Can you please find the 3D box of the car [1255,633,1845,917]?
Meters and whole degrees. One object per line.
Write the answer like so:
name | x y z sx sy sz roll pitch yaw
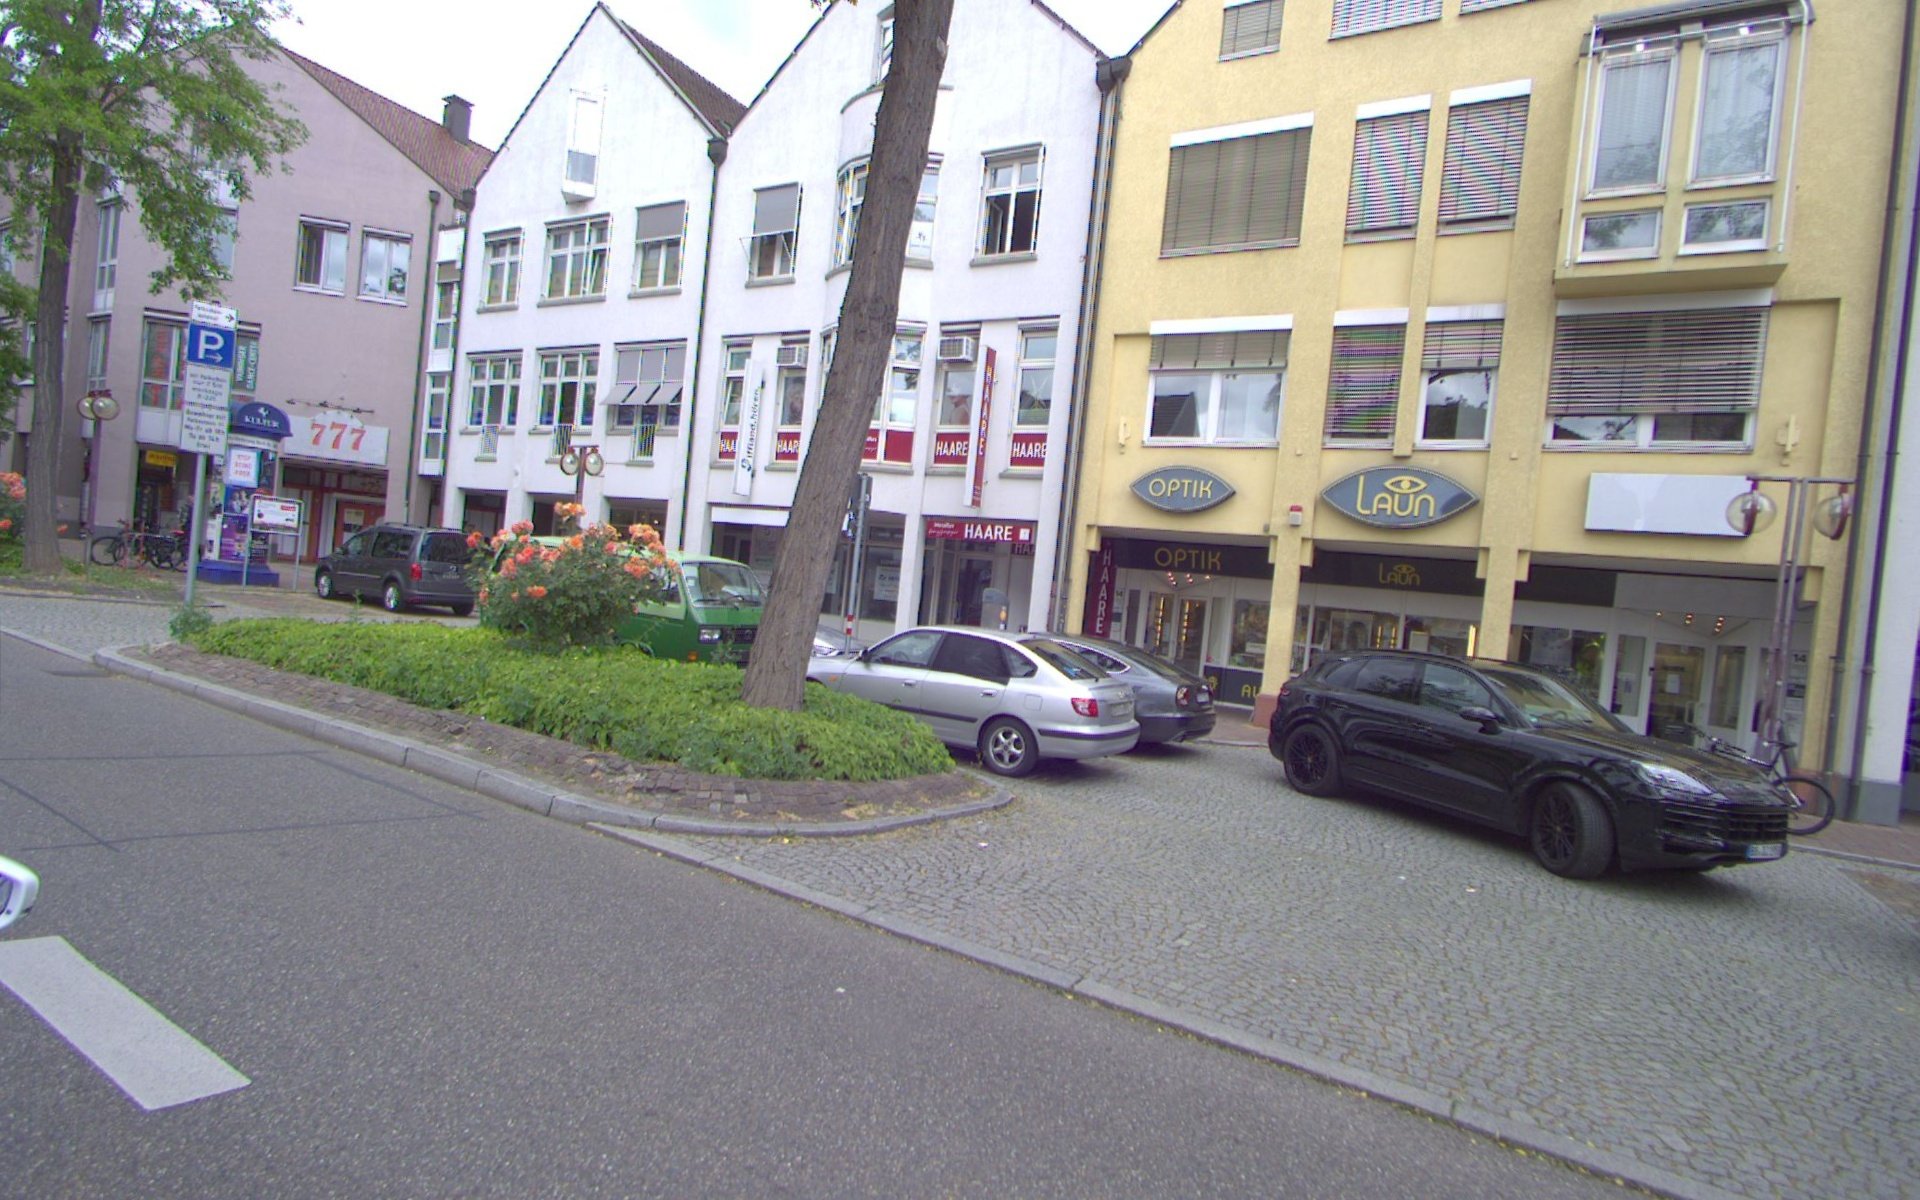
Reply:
car | 5.299 1.441 9.881 1.836 1.692 4.631 5 1 -26

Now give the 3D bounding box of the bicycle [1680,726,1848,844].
bicycle | 9.146 2.083 11.497 1.356 1.058 0.392 7 2 32

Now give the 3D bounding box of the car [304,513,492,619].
car | -12.380 -0.762 22.127 3.898 1.855 1.639 7 1 28

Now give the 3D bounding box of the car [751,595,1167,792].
car | -0.080 0.945 11.489 4.344 1.468 1.765 7 0 30

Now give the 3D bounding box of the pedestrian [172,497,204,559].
pedestrian | -24.201 -2.249 31.550 0.646 1.857 0.604 6 1 -36

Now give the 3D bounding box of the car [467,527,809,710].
car | -4.547 0.182 14.020 4.527 1.901 1.882 7 2 30

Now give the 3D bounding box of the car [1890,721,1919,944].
car | 8.949 1.927 5.860 4.682 1.615 1.997 7 0 29

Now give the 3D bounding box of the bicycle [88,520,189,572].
bicycle | -19.720 -1.285 24.195 0.440 1.009 1.769 7 0 36

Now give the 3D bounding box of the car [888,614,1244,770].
car | 1.412 1.148 13.844 4.344 1.394 1.999 7 1 30

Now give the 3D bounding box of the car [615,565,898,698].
car | -3.372 0.456 16.410 4.320 1.562 1.797 7 2 30

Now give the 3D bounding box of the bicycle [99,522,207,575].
bicycle | -19.210 -1.219 23.990 0.460 1.009 1.901 7 0 36
